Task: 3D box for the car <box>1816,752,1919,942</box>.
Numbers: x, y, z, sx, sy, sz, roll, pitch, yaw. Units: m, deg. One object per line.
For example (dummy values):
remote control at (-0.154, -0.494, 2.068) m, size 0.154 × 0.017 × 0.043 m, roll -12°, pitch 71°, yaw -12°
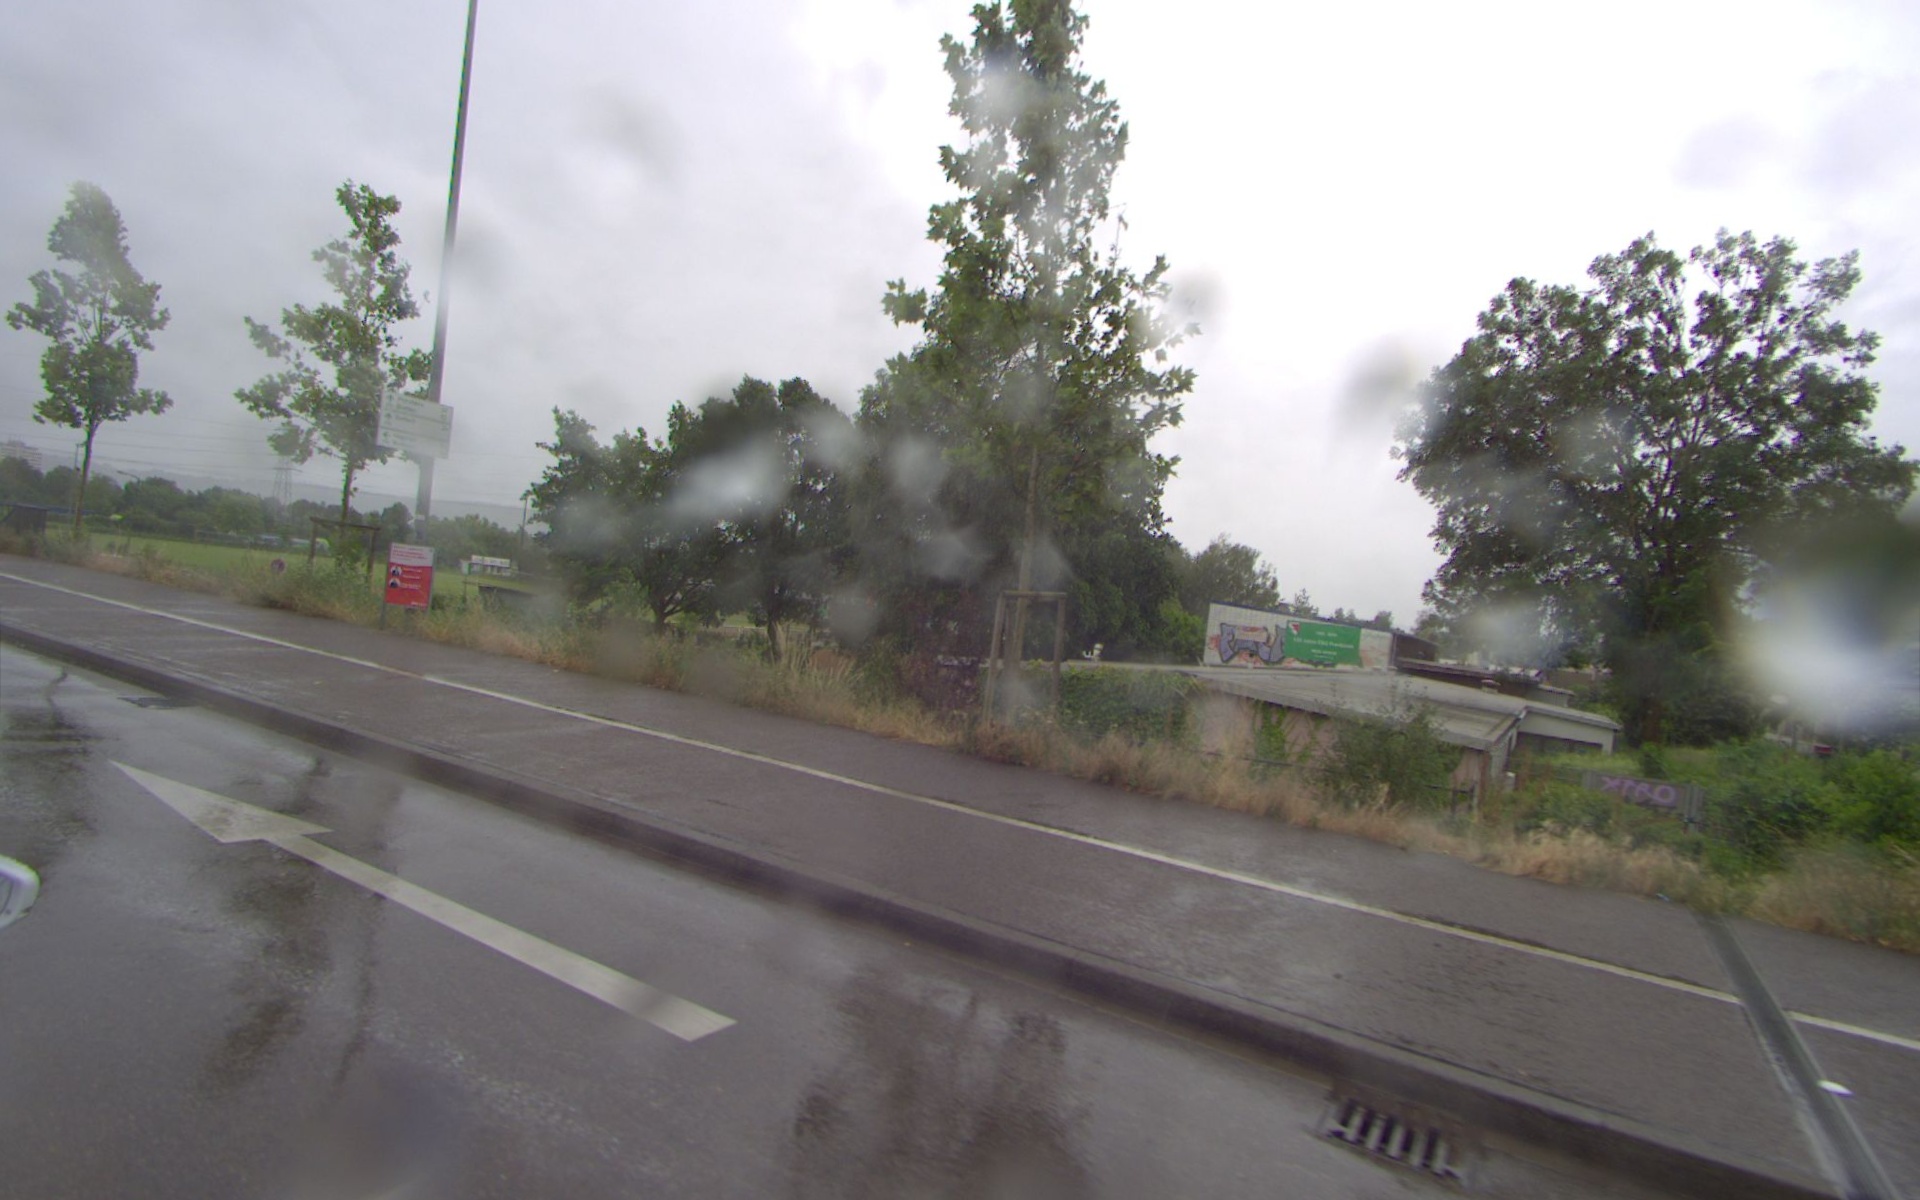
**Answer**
car at (8.304, 2.058, 8.438) m, size 1.324 × 1.303 × 3.239 m, roll 6°, pitch -3°, yaw 36°
